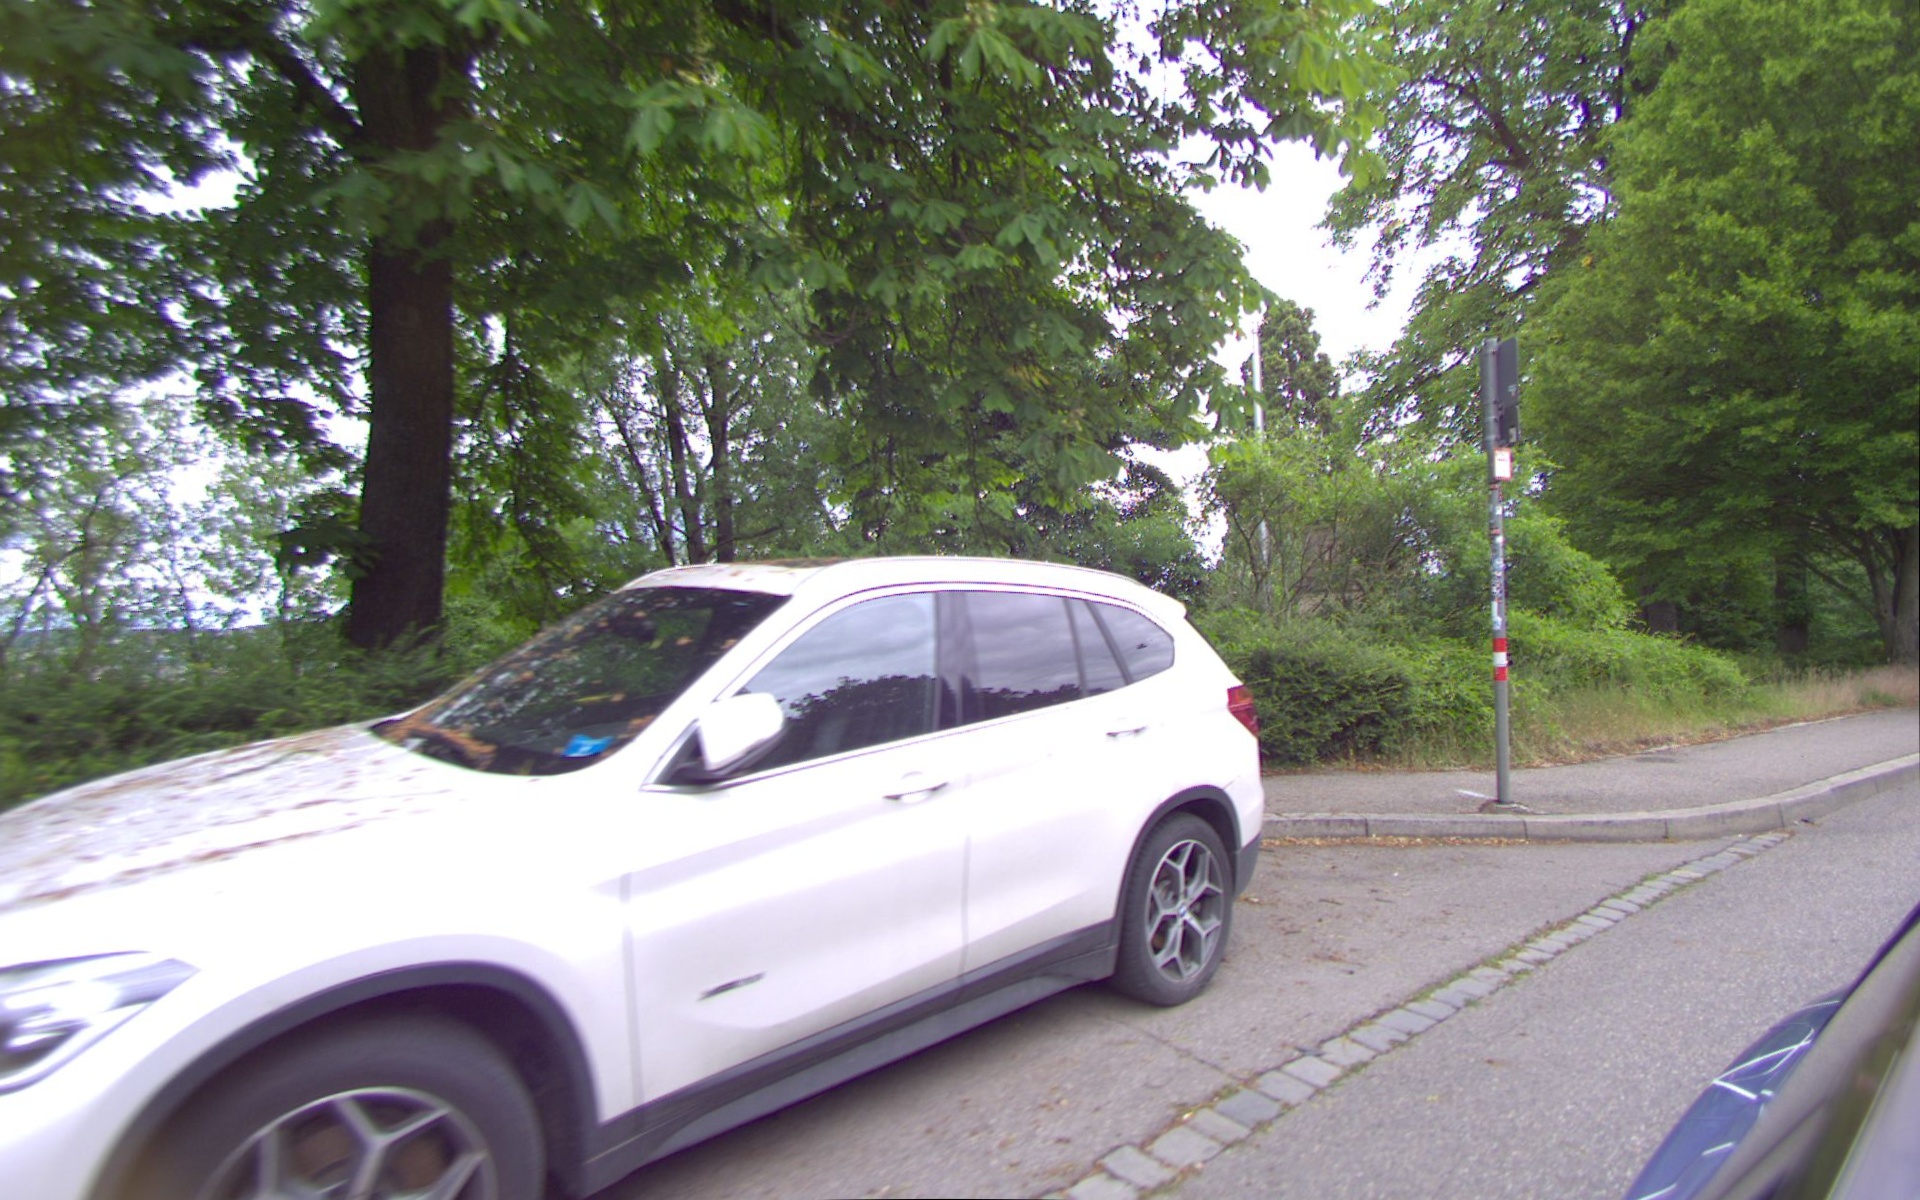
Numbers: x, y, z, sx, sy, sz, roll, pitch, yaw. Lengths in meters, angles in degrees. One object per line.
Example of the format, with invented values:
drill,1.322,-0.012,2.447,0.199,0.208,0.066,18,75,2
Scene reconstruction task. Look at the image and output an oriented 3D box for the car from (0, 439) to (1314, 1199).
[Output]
car,-0.724,0.583,3.287,4.307,1.673,1.760,0,1,-44
